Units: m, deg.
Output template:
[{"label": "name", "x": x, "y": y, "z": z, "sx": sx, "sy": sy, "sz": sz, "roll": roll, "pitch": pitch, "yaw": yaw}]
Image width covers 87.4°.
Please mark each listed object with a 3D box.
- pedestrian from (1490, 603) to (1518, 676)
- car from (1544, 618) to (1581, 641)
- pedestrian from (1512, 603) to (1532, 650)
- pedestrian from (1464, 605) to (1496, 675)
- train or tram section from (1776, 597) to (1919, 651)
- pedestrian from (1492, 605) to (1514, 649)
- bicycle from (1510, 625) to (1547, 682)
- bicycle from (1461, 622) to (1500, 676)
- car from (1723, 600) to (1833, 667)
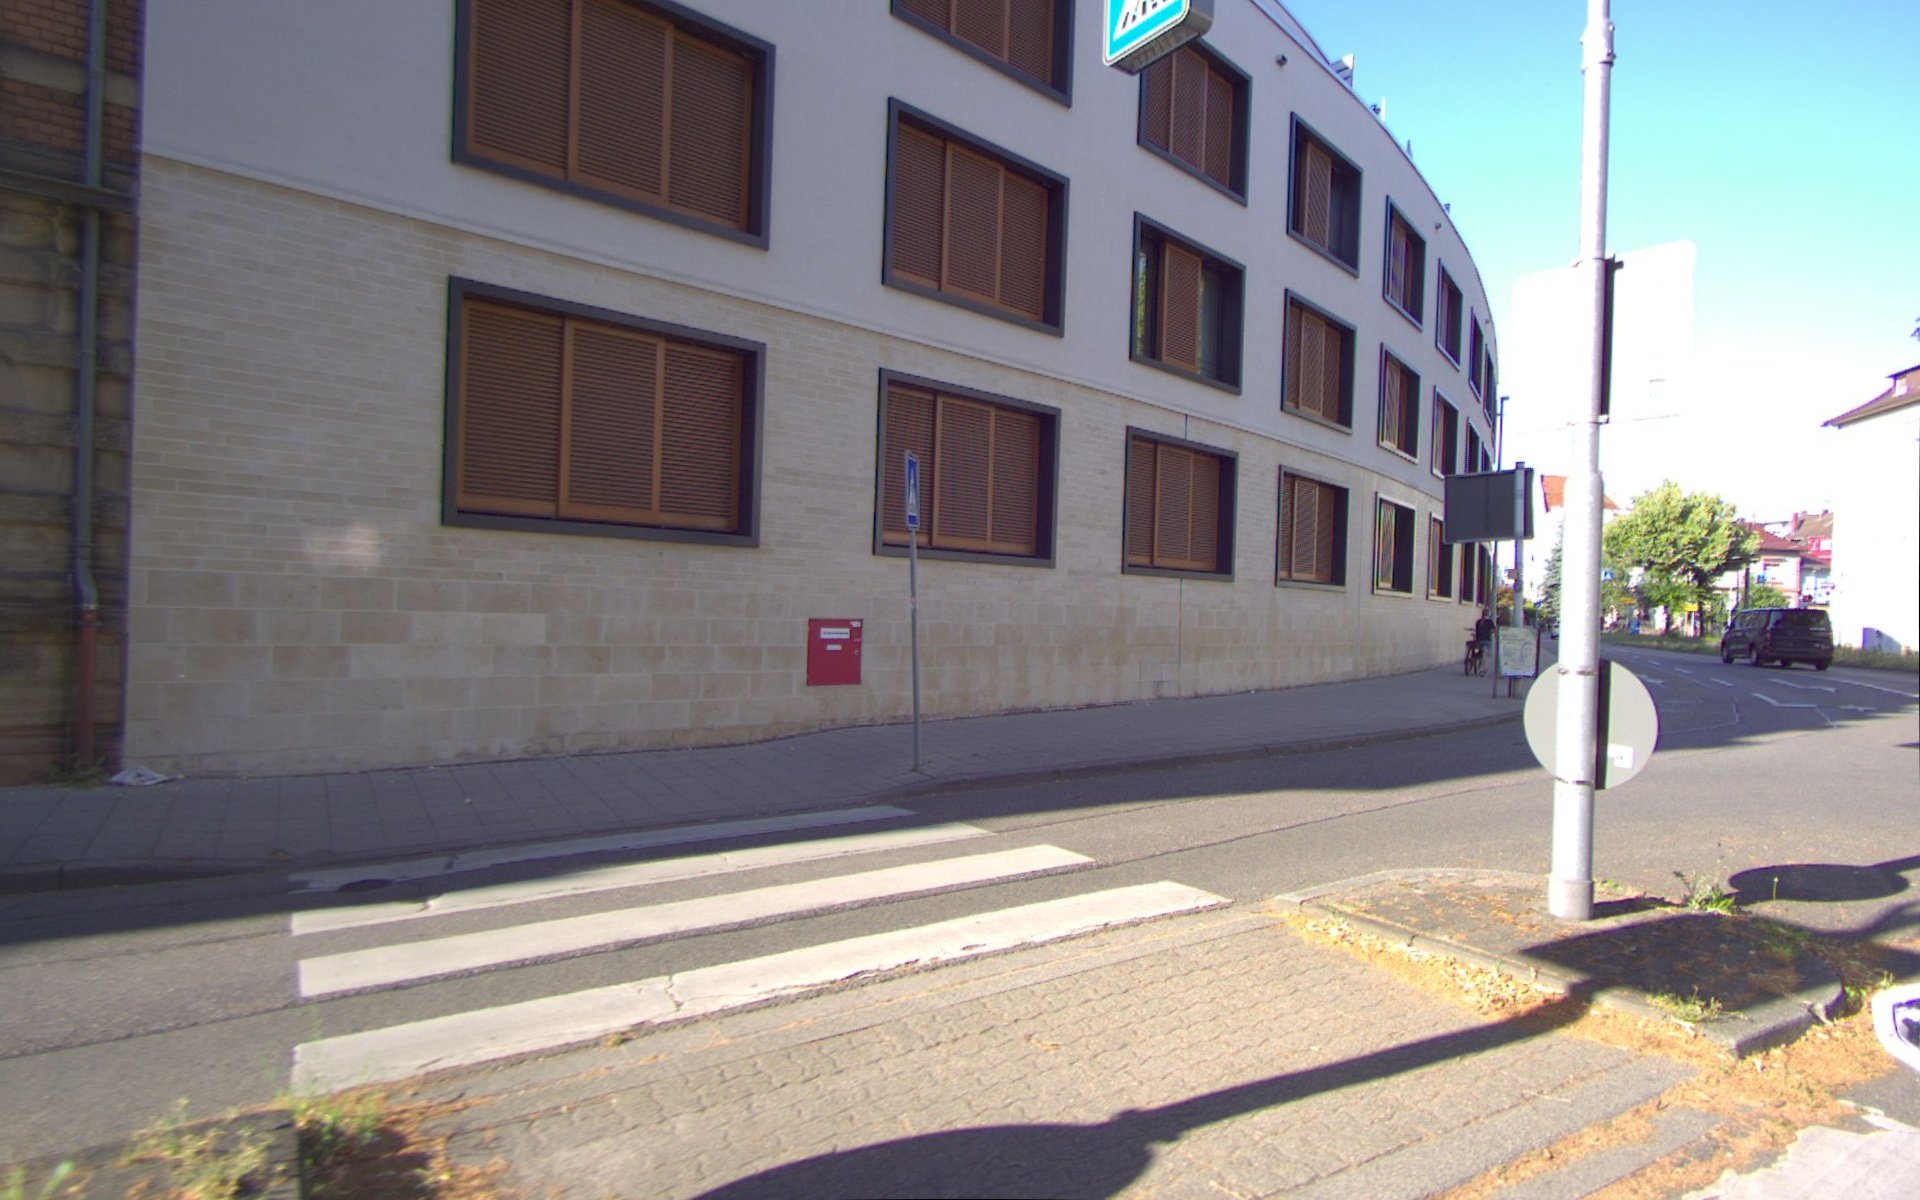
[{"label": "pedestrian", "x": 12.539, "y": 0.900, "z": 23.156, "sx": 0.468, "sy": 1.669, "sz": 0.600, "roll": 1, "pitch": 0, "yaw": 38}, {"label": "car", "x": 41.575, "y": 2.016, "z": 69.296, "sx": 1.933, "sy": 1.525, "sz": 3.673, "roll": 0, "pitch": -1, "yaw": 35}, {"label": "pedestrian", "x": 22.892, "y": 1.092, "z": 40.936, "sx": 0.596, "sy": 1.873, "sz": 0.992, "roll": 3, "pitch": 0, "yaw": 26}, {"label": "pedestrian", "x": 12.281, "y": 0.931, "z": 23.724, "sx": 0.468, "sy": 1.586, "sz": 0.600, "roll": 5, "pitch": 3, "yaw": 38}, {"label": "train or tram section", "x": 65.206, "y": 1.747, "z": 73.302, "sx": 9.737, "sy": 3.603, "sz": 2.781, "roll": 2, "pitch": 0, "yaw": -8}, {"label": "pedestrian", "x": 22.291, "y": 1.112, "z": 41.241, "sx": 0.691, "sy": 1.736, "sz": 0.842, "roll": 3, "pitch": 0, "yaw": 27}, {"label": "bicycle", "x": 13.014, "y": 1.199, "z": 22.973, "sx": 0.434, "sy": 1.194, "sz": 1.959, "roll": 3, "pitch": 2, "yaw": 37}, {"label": "bicycle", "x": 12.229, "y": 1.130, "z": 23.570, "sx": 0.371, "sy": 1.183, "sz": 1.828, "roll": 4, "pitch": 2, "yaw": 40}, {"label": "car", "x": 27.750, "y": 1.089, "z": 34.243, "sx": 1.963, "sy": 2.040, "sz": 3.996, "roll": 3, "pitch": 1, "yaw": 26}]
